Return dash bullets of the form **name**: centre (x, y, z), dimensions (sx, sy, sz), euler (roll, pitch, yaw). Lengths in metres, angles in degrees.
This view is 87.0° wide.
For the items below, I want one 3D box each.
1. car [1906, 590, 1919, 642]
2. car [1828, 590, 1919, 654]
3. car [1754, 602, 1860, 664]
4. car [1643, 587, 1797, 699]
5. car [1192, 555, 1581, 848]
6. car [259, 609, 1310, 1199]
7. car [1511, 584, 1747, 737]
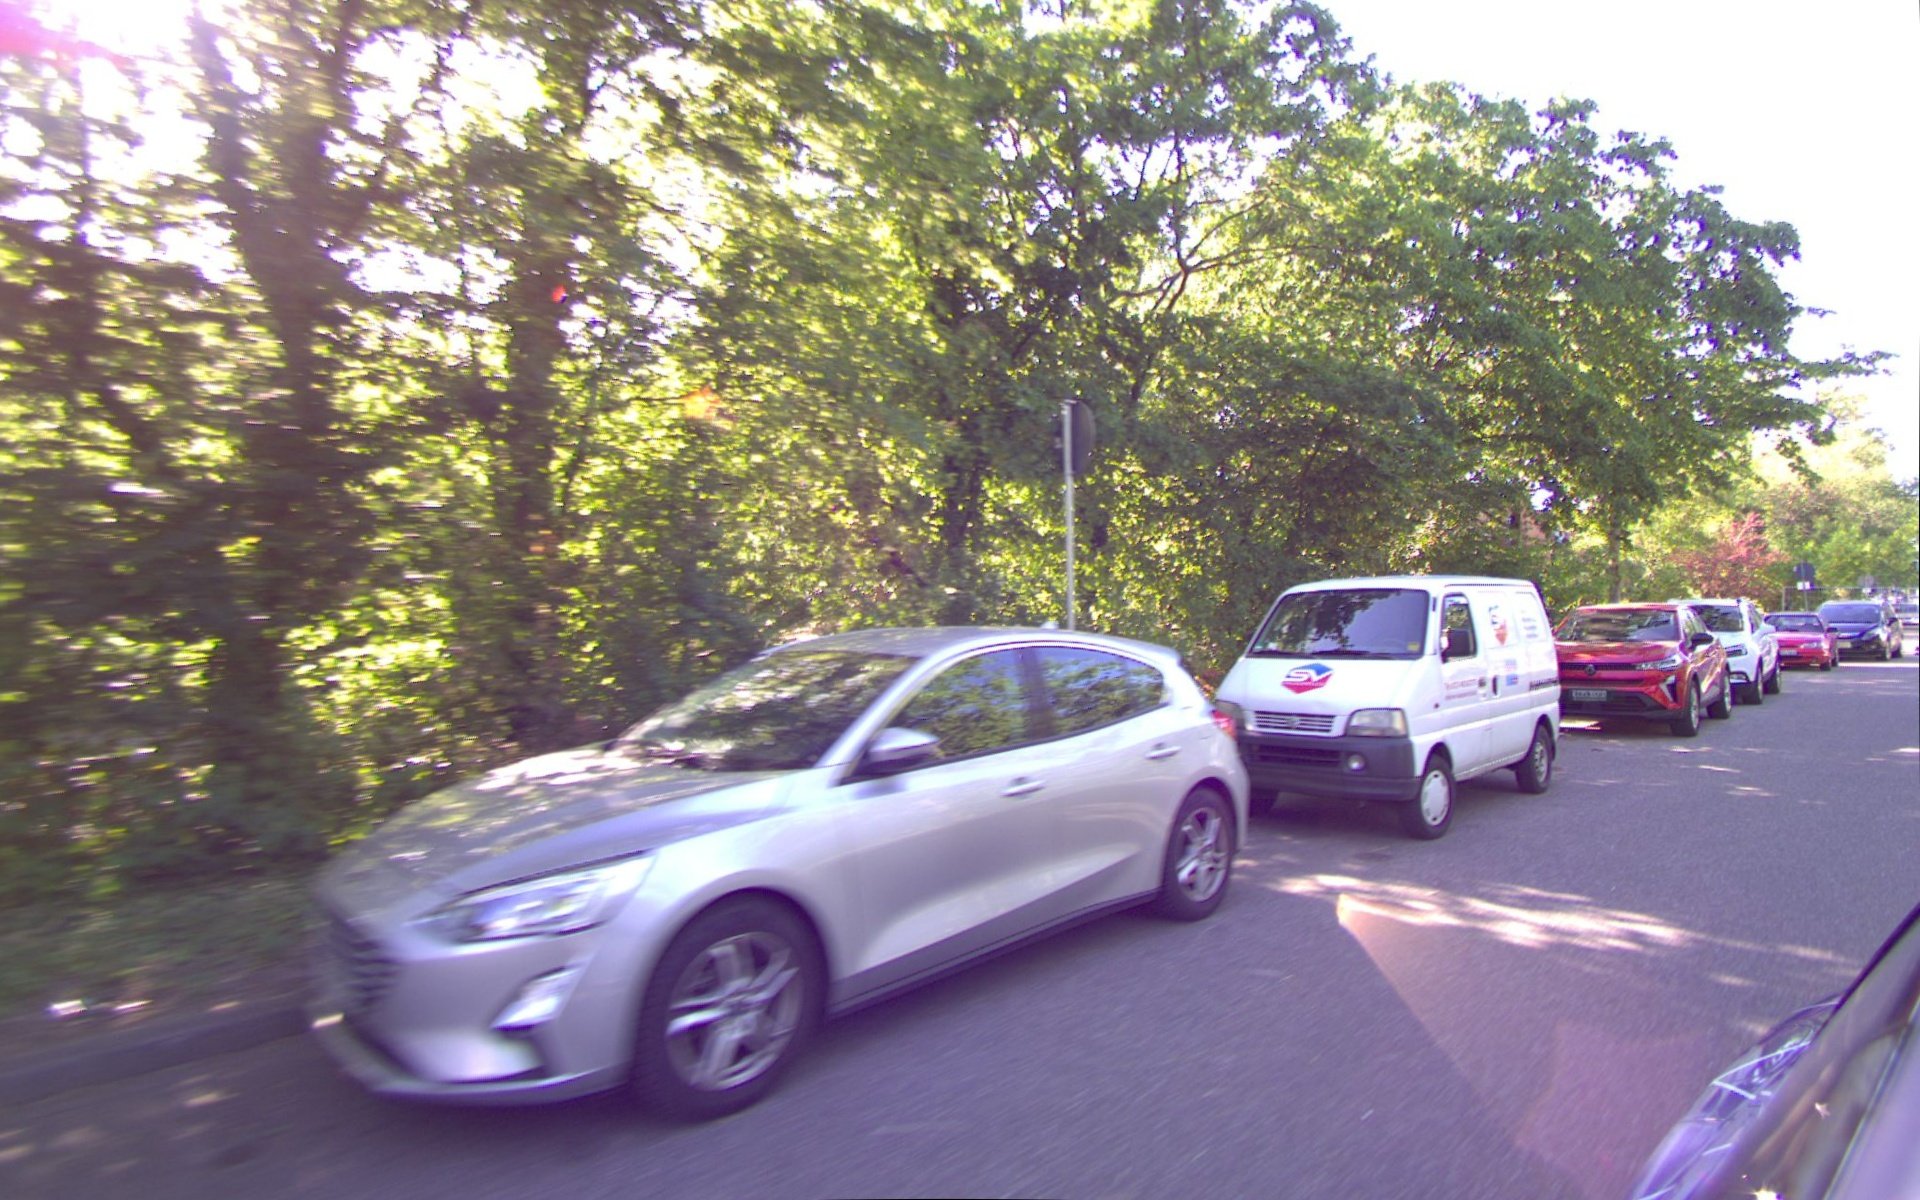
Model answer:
- **car**: centre (32.835, 0.514, 33.827), dimensions (3.656, 1.674, 1.448), euler (0, -1, -42)
- **car**: centre (25.538, 0.573, 28.223), dimensions (4.022, 1.674, 1.498), euler (0, -1, -42)
- **car**: centre (20.572, 0.754, 24.541), dimensions (3.407, 1.376, 1.498), euler (0, -1, -42)
- **car**: centre (12.659, 0.639, 16.782), dimensions (3.691, 1.659, 1.497), euler (0, -1, -45)
- **car**: centre (3.512, 0.617, 7.992), dimensions (3.739, 1.777, 1.497), euler (0, -1, -45)
- **car**: centre (-0.301, 0.794, 4.599), dimensions (4.538, 1.463, 1.718), euler (1, -2, -45)
- **car**: centre (8.621, 0.663, 12.933), dimensions (3.691, 1.659, 1.769), euler (0, -1, -44)
